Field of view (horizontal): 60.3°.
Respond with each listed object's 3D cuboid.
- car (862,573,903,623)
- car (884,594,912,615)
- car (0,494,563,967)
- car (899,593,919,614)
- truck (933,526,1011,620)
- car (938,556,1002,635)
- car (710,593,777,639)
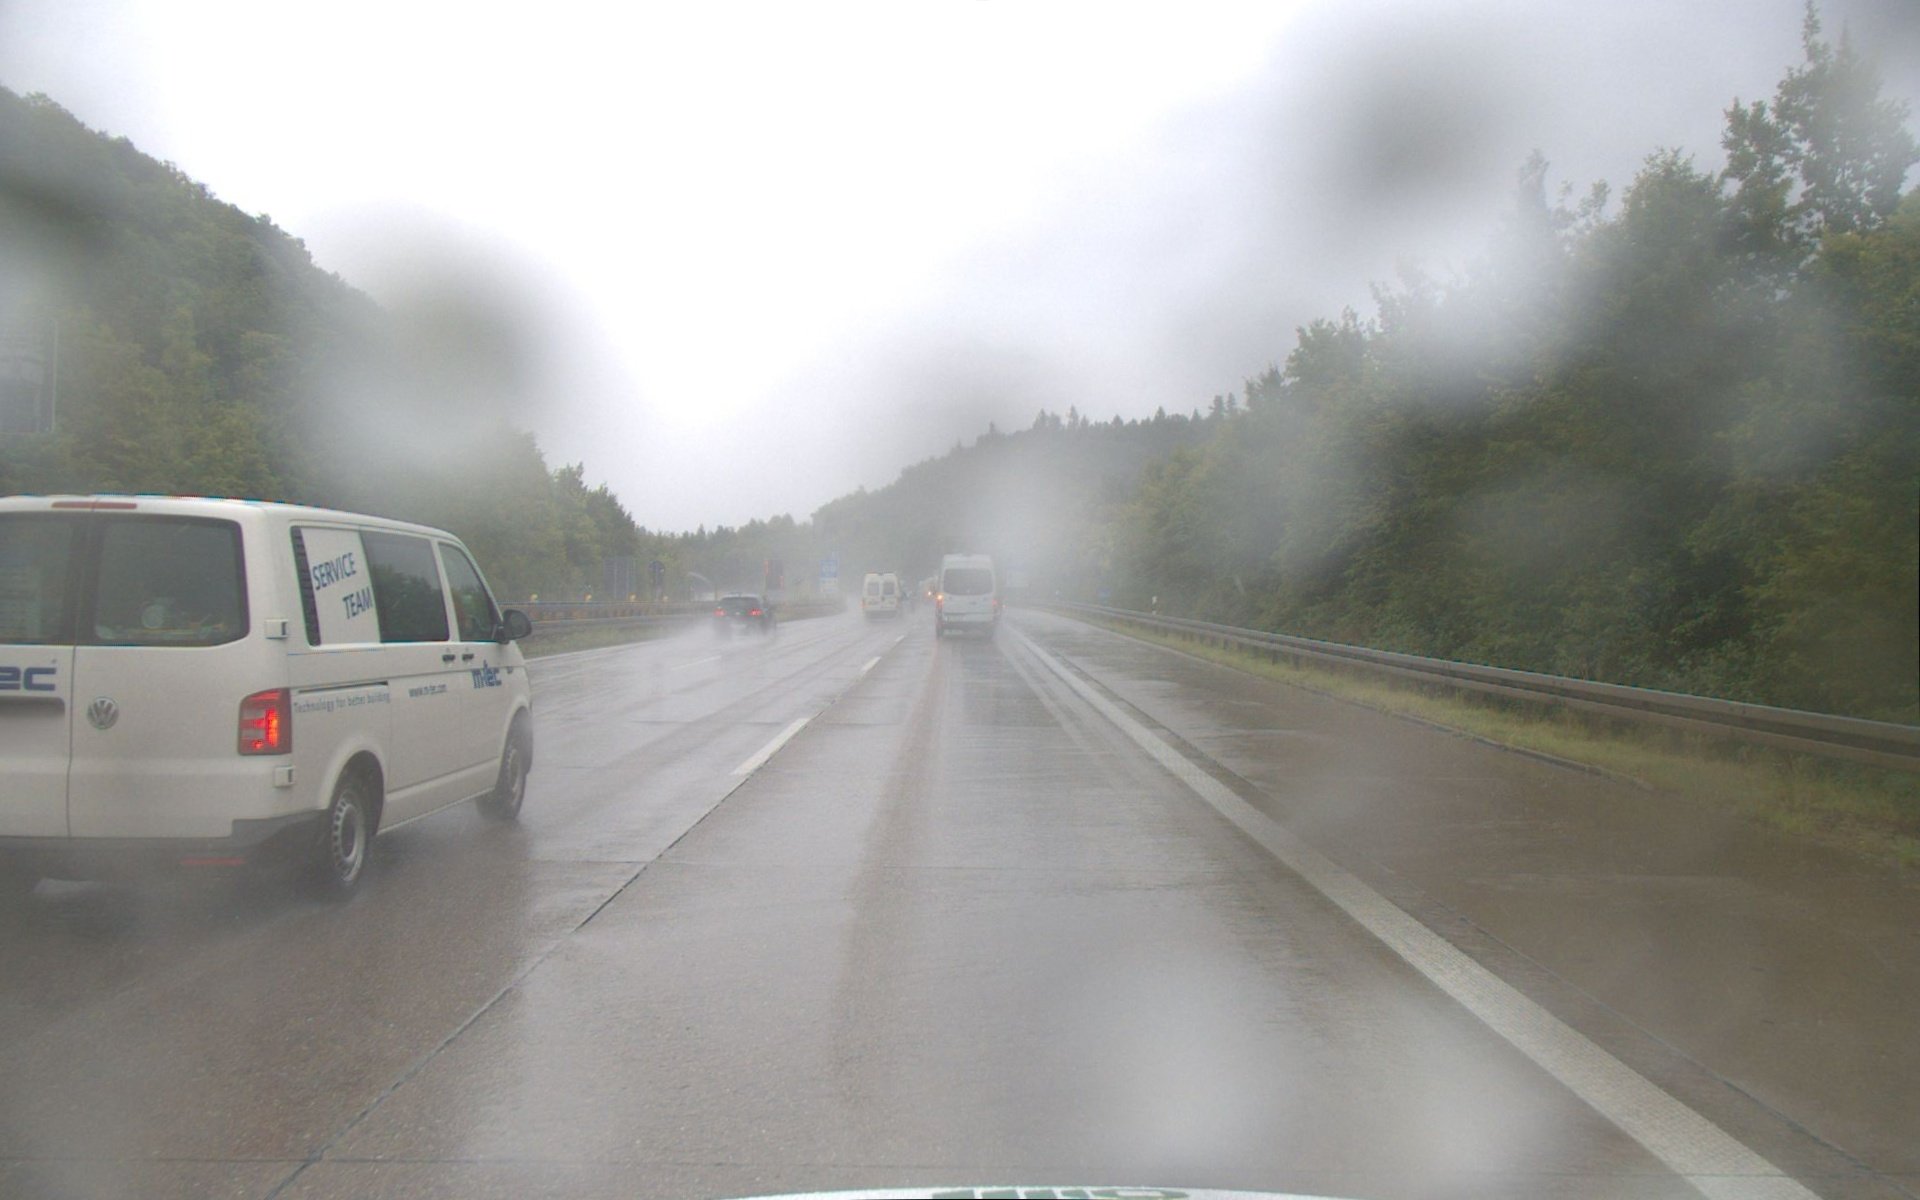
[{"bbox_3d":[-4.007,-0.115,86.201,1.957,2.474,5.789,2,0,-2],"label":"car"},{"bbox_3d":[-4.249,0.290,112.821,1.819,1.362,4.348,2,0,-4],"label":"car"},{"bbox_3d":[-3.747,0.523,9.266,1.861,1.927,5.042,0,0,-1],"label":"car"},{"bbox_3d":[-4.731,0.292,153.846,1.831,1.841,4.187,2,0,-2],"label":"car"},{"bbox_3d":[0.481,-1.341,76.413,3.316,4.037,8.666,-1,2,-1],"label":"truck"},{"bbox_3d":[0.278,-0.144,54.102,1.861,2.374,5.249,2,0,-2],"label":"car"},{"bbox_3d":[-6.911,0.493,53.118,1.705,1.412,4.320,0,0,-2],"label":"car"}]
